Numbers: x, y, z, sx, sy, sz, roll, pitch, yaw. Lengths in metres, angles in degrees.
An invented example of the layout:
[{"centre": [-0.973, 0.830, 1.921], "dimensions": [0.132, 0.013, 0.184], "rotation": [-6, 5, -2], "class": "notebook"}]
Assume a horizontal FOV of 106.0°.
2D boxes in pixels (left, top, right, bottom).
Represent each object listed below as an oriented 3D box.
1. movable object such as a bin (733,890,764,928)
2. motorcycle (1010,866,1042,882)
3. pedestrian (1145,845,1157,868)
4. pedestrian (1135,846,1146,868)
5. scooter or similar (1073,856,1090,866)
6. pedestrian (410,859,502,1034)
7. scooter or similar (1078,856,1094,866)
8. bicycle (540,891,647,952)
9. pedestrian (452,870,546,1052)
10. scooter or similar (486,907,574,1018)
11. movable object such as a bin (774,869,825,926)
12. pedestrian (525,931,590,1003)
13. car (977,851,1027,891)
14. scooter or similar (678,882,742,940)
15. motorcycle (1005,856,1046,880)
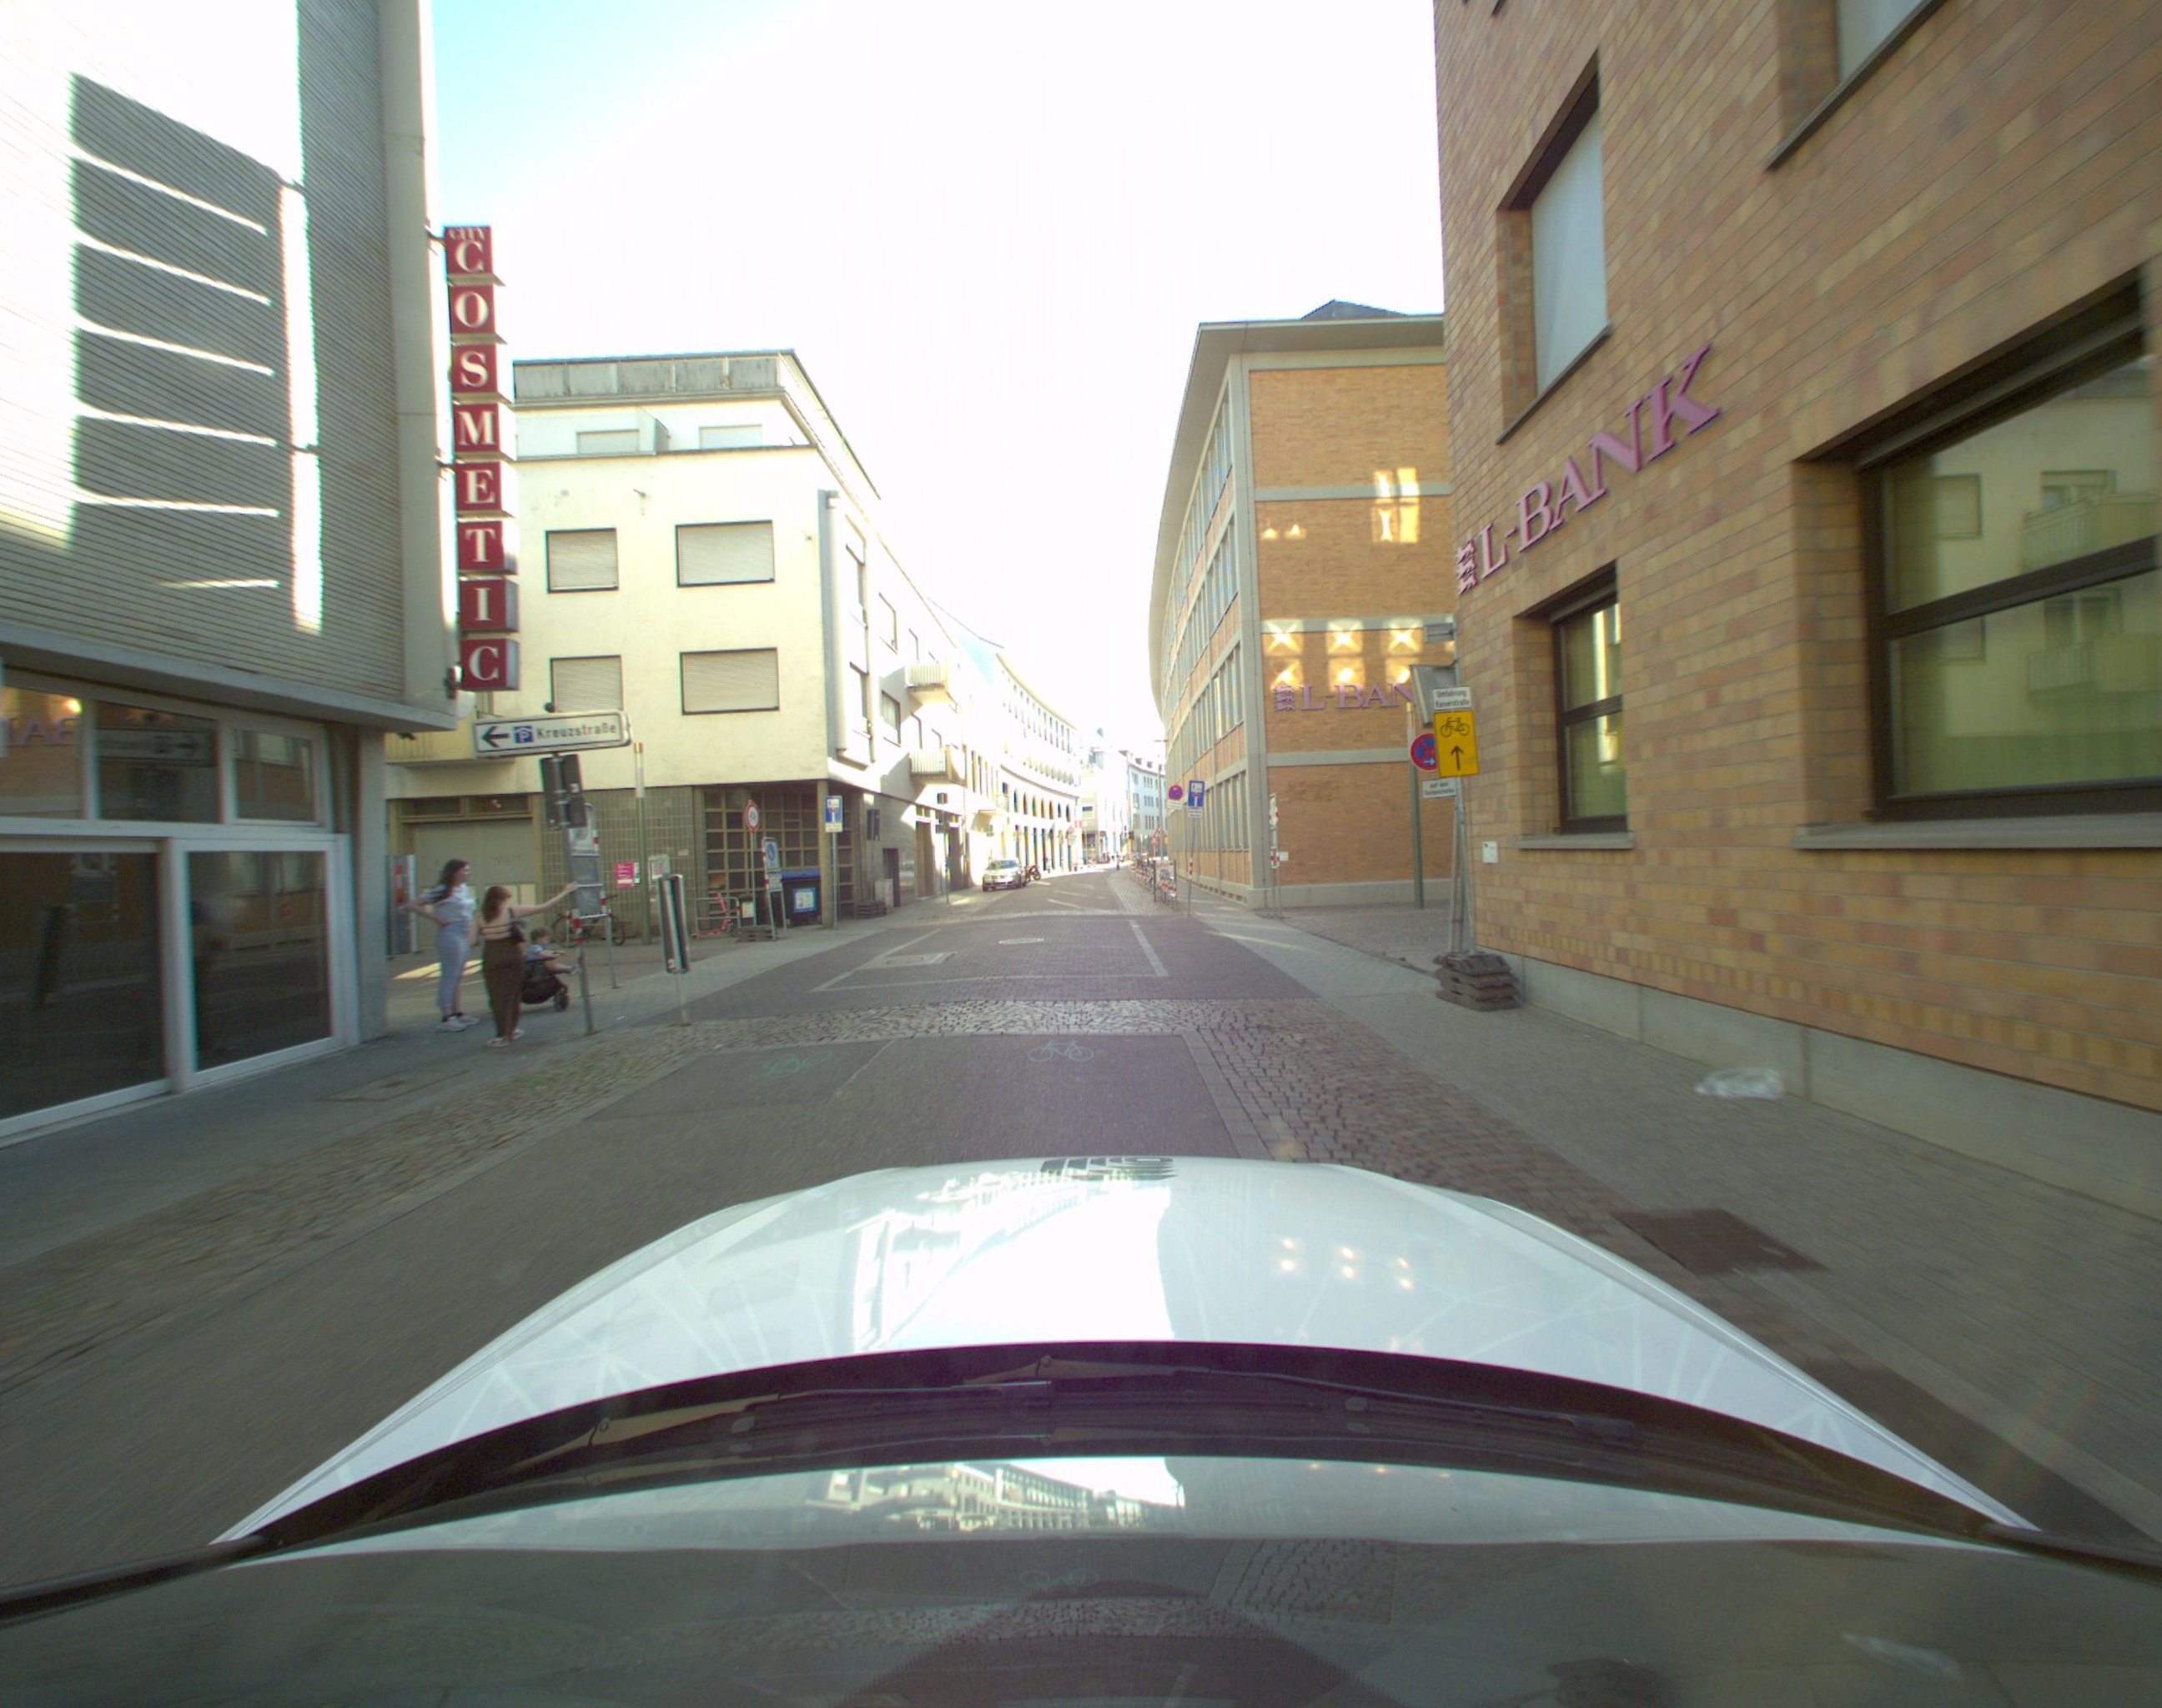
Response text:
[{"centre": [-8.304, 1.359, 20.331], "dimensions": [0.519, 0.902, 0.540], "rotation": [-1, -1, 43], "class": "movable object such as a bin"}, {"centre": [-3.088, 1.100, 45.603], "dimensions": [1.683, 0.859, 0.595], "rotation": [-1, -1, 5], "class": "motorcycle"}, {"centre": [5.715, 0.217, 66.133], "dimensions": [0.663, 1.869, 0.754], "rotation": [0, -1, -30], "class": "pedestrian"}, {"centre": [5.250, 0.257, 71.576], "dimensions": [0.663, 1.869, 0.779], "rotation": [0, -1, -30], "class": "pedestrian"}, {"centre": [0.049, 0.703, 80.732], "dimensions": [0.520, 0.928, 2.242], "rotation": [-1, 0, 31], "class": "scooter or similar"}, {"centre": [-6.492, 0.933, 8.471], "dimensions": [0.443, 1.738, 0.556], "rotation": [-2, 0, 23], "class": "pedestrian"}, {"centre": [0.522, 0.738, 83.820], "dimensions": [0.520, 0.928, 2.242], "rotation": [-1, 0, 31], "class": "scooter or similar"}, {"centre": [-10.716, 1.476, 17.942], "dimensions": [1.864, 1.158, 0.718], "rotation": [-3, 0, 2], "class": "bicycle"}, {"centre": [-5.578, 0.983, 7.809], "dimensions": [0.650, 1.625, 0.452], "rotation": [-2, 0, -41], "class": "pedestrian"}, {"centre": [-6.375, 1.229, 9.461], "dimensions": [0.794, 1.161, 0.629], "rotation": [0, -1, -29], "class": "scooter or similar"}, {"centre": [-7.220, 1.094, 20.891], "dimensions": [0.873, 1.420, 0.940], "rotation": [-1, -1, 43], "class": "movable object such as a bin"}, {"centre": [-6.131, 1.312, 9.563], "dimensions": [0.586, 0.715, 0.640], "rotation": [-2, 0, -30], "class": "pedestrian"}, {"centre": [-3.623, 0.756, 38.023], "dimensions": [1.730, 1.605, 3.534], "rotation": [-6, 0, 1], "class": "car"}, {"centre": [-8.392, 1.280, 18.450], "dimensions": [1.153, 1.207, 0.480], "rotation": [-3, 0, 0], "class": "scooter or similar"}, {"centre": [-3.352, 0.857, 49.322], "dimensions": [2.383, 1.317, 0.862], "rotation": [-3, 0, 0], "class": "motorcycle"}]
